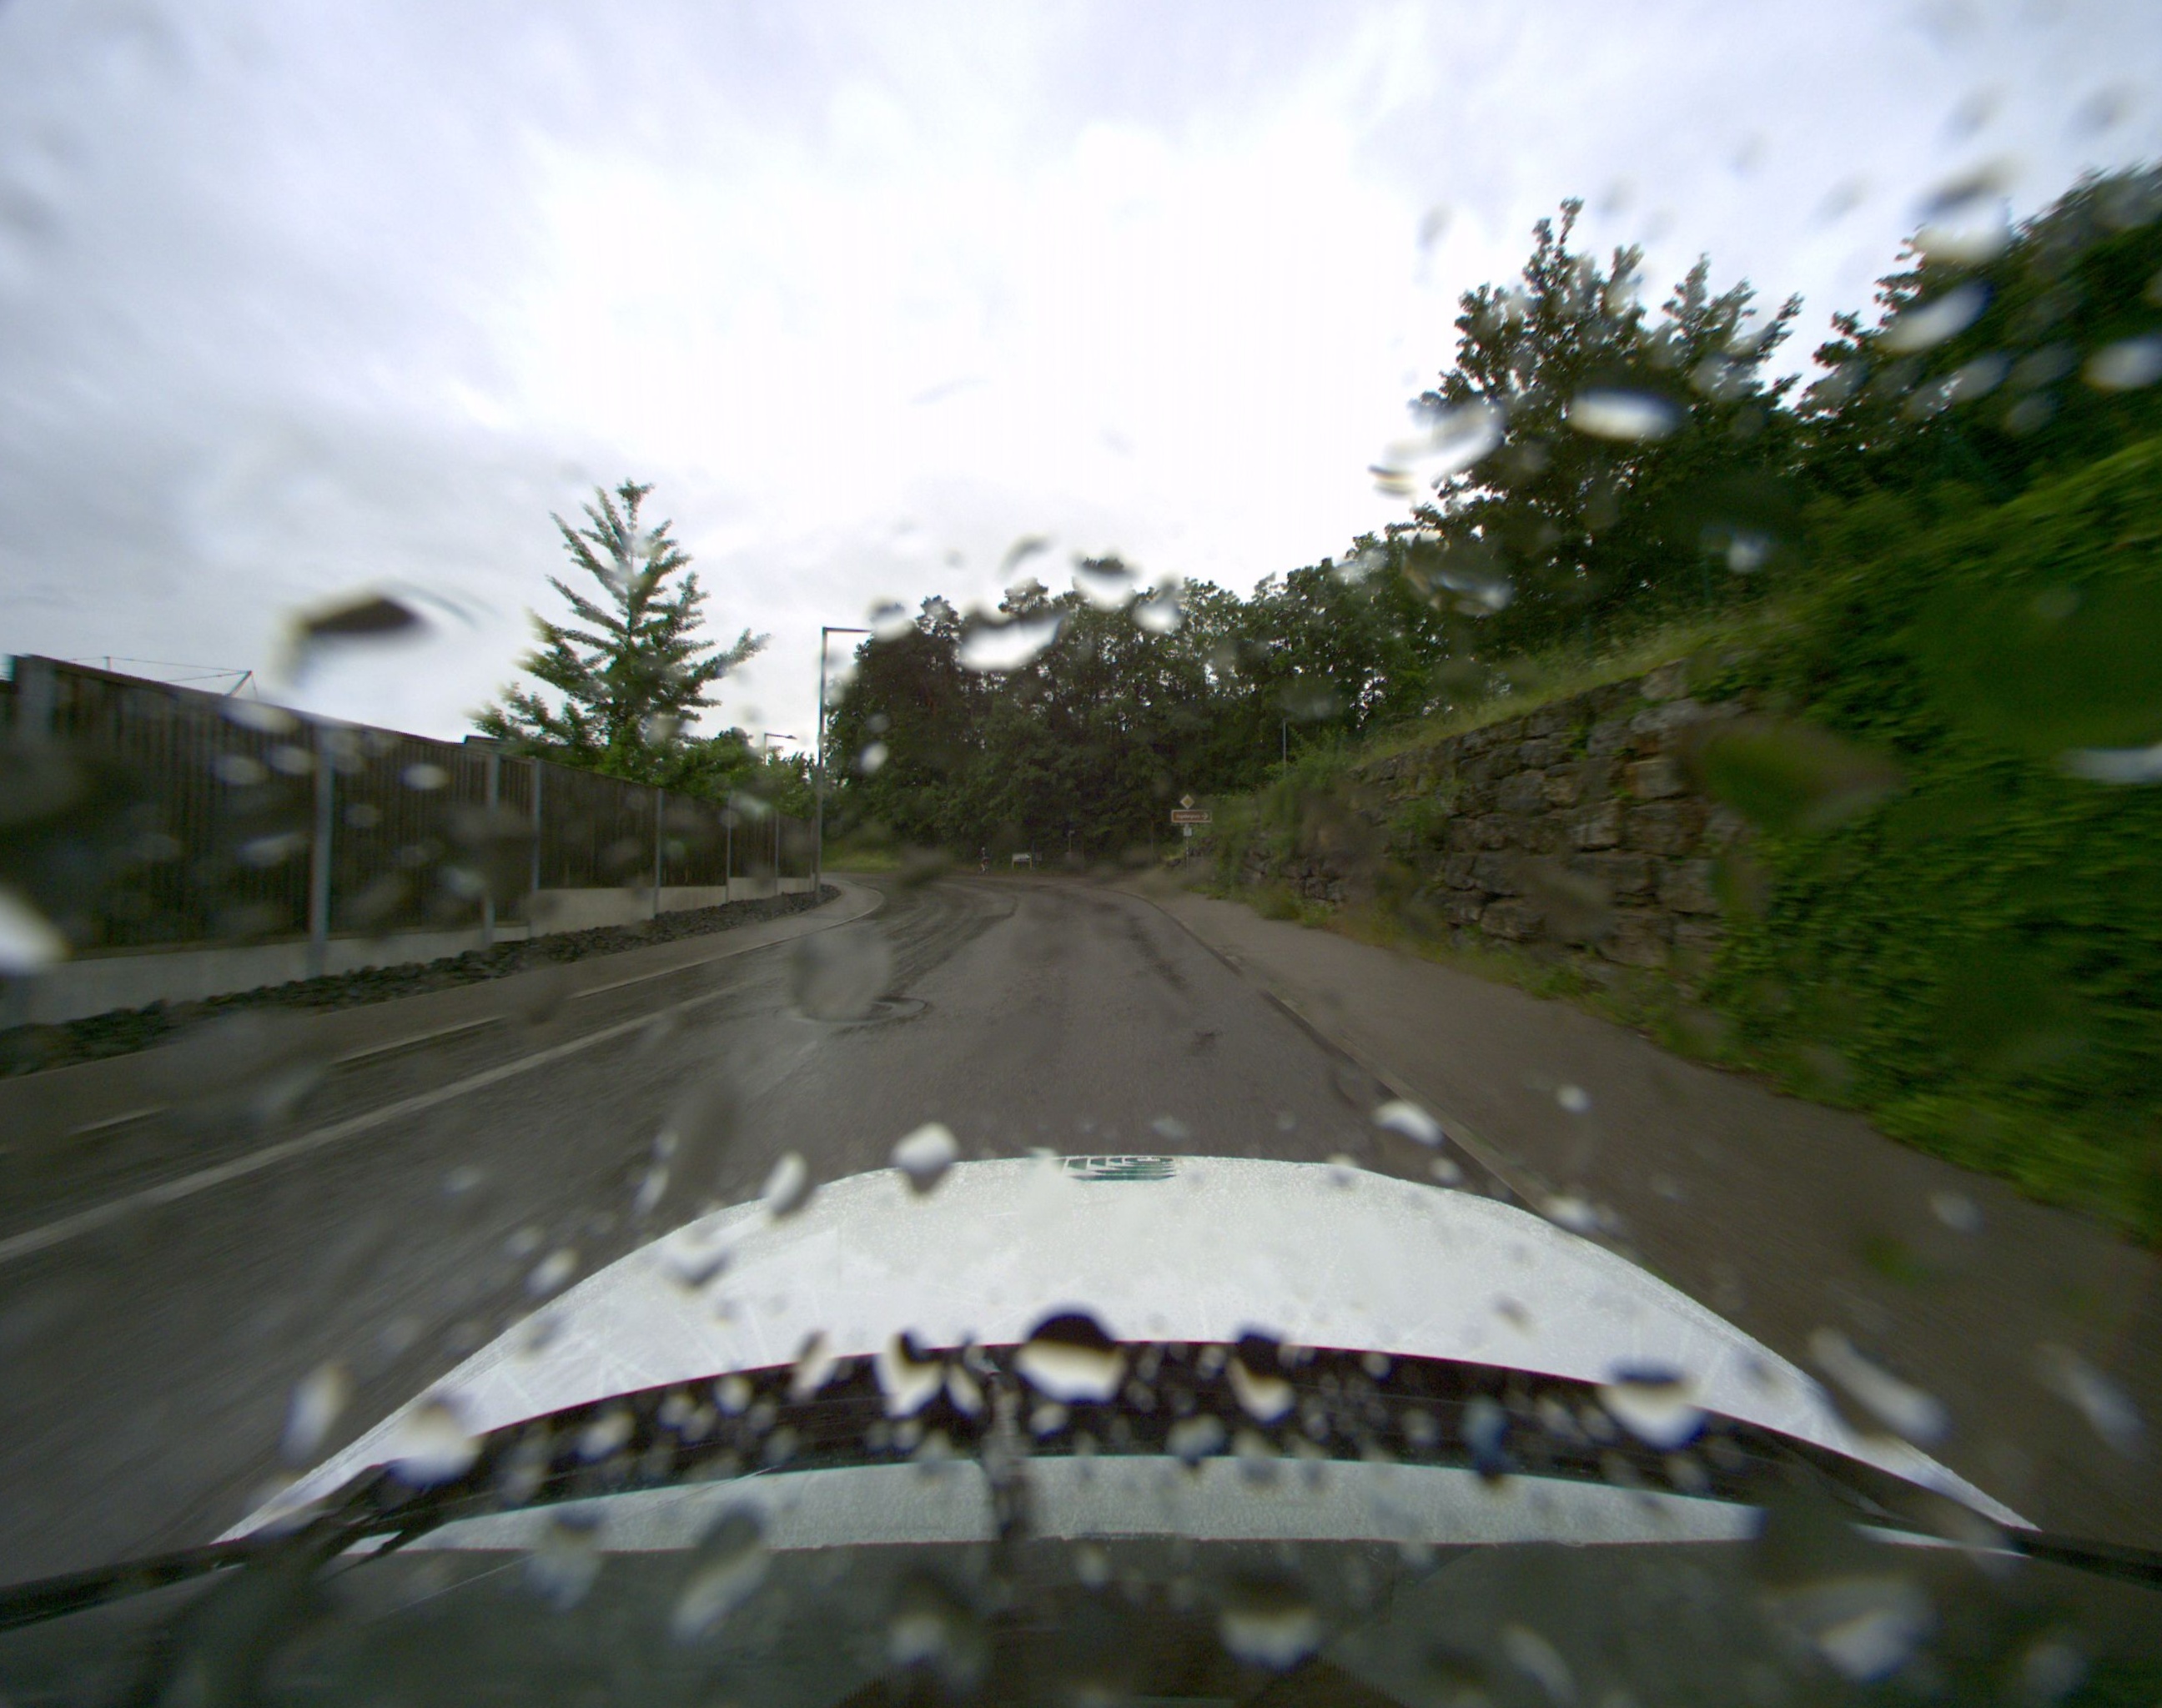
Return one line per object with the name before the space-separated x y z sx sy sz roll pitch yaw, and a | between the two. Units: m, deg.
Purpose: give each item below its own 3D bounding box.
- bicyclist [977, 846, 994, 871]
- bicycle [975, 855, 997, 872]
bicyclist | -6.002 0.277 51.253 0.726 1.615 0.895 0 0 -36
bicycle | -5.987 0.594 51.275 0.532 1.085 1.602 0 0 -39
